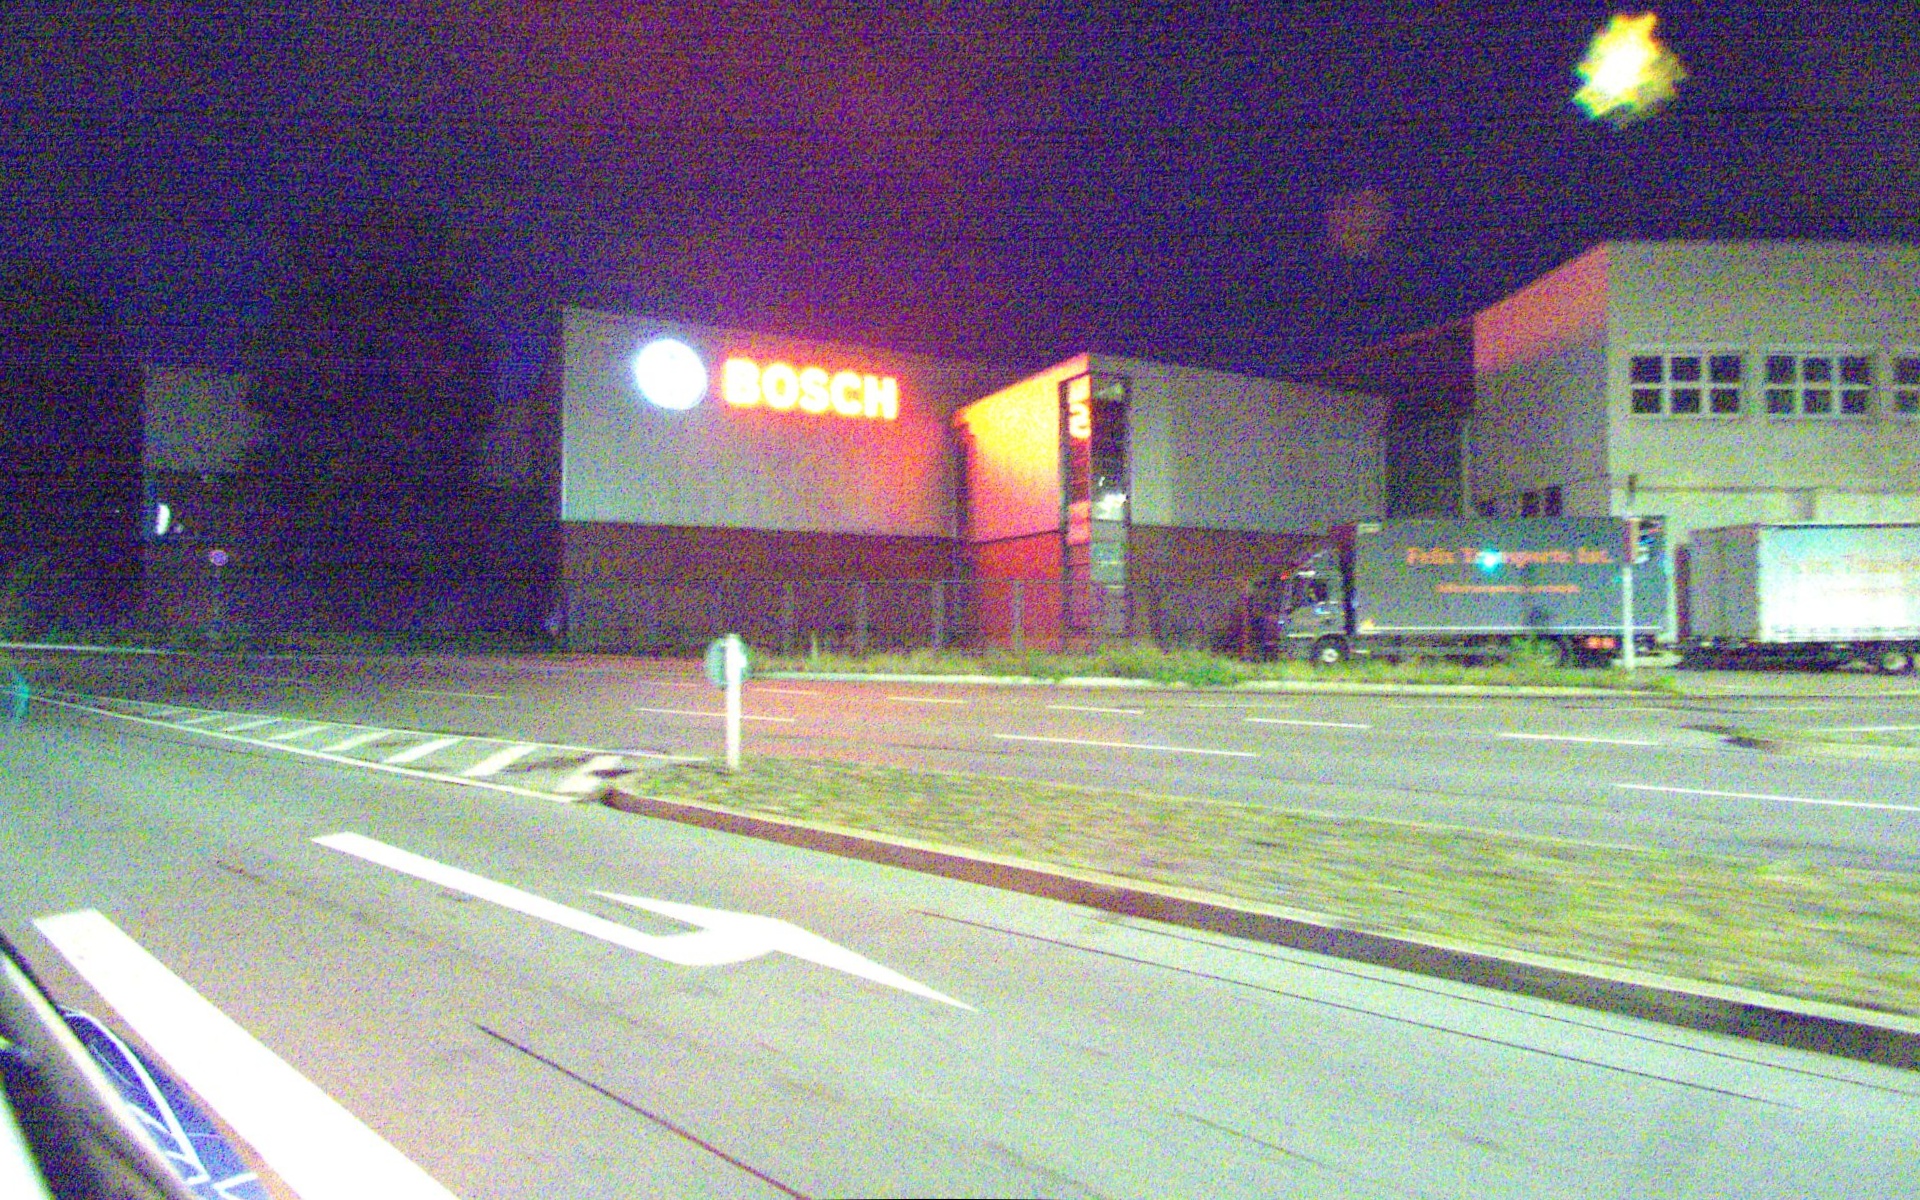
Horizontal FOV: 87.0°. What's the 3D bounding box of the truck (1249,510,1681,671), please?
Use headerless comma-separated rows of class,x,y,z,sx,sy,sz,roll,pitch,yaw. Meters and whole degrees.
truck,12.591,-0.261,26.061,9.438,3.825,2.943,1,0,6

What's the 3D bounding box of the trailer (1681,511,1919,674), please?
trailer,22.274,-0.164,25.314,6.429,3.819,2.619,1,0,4
